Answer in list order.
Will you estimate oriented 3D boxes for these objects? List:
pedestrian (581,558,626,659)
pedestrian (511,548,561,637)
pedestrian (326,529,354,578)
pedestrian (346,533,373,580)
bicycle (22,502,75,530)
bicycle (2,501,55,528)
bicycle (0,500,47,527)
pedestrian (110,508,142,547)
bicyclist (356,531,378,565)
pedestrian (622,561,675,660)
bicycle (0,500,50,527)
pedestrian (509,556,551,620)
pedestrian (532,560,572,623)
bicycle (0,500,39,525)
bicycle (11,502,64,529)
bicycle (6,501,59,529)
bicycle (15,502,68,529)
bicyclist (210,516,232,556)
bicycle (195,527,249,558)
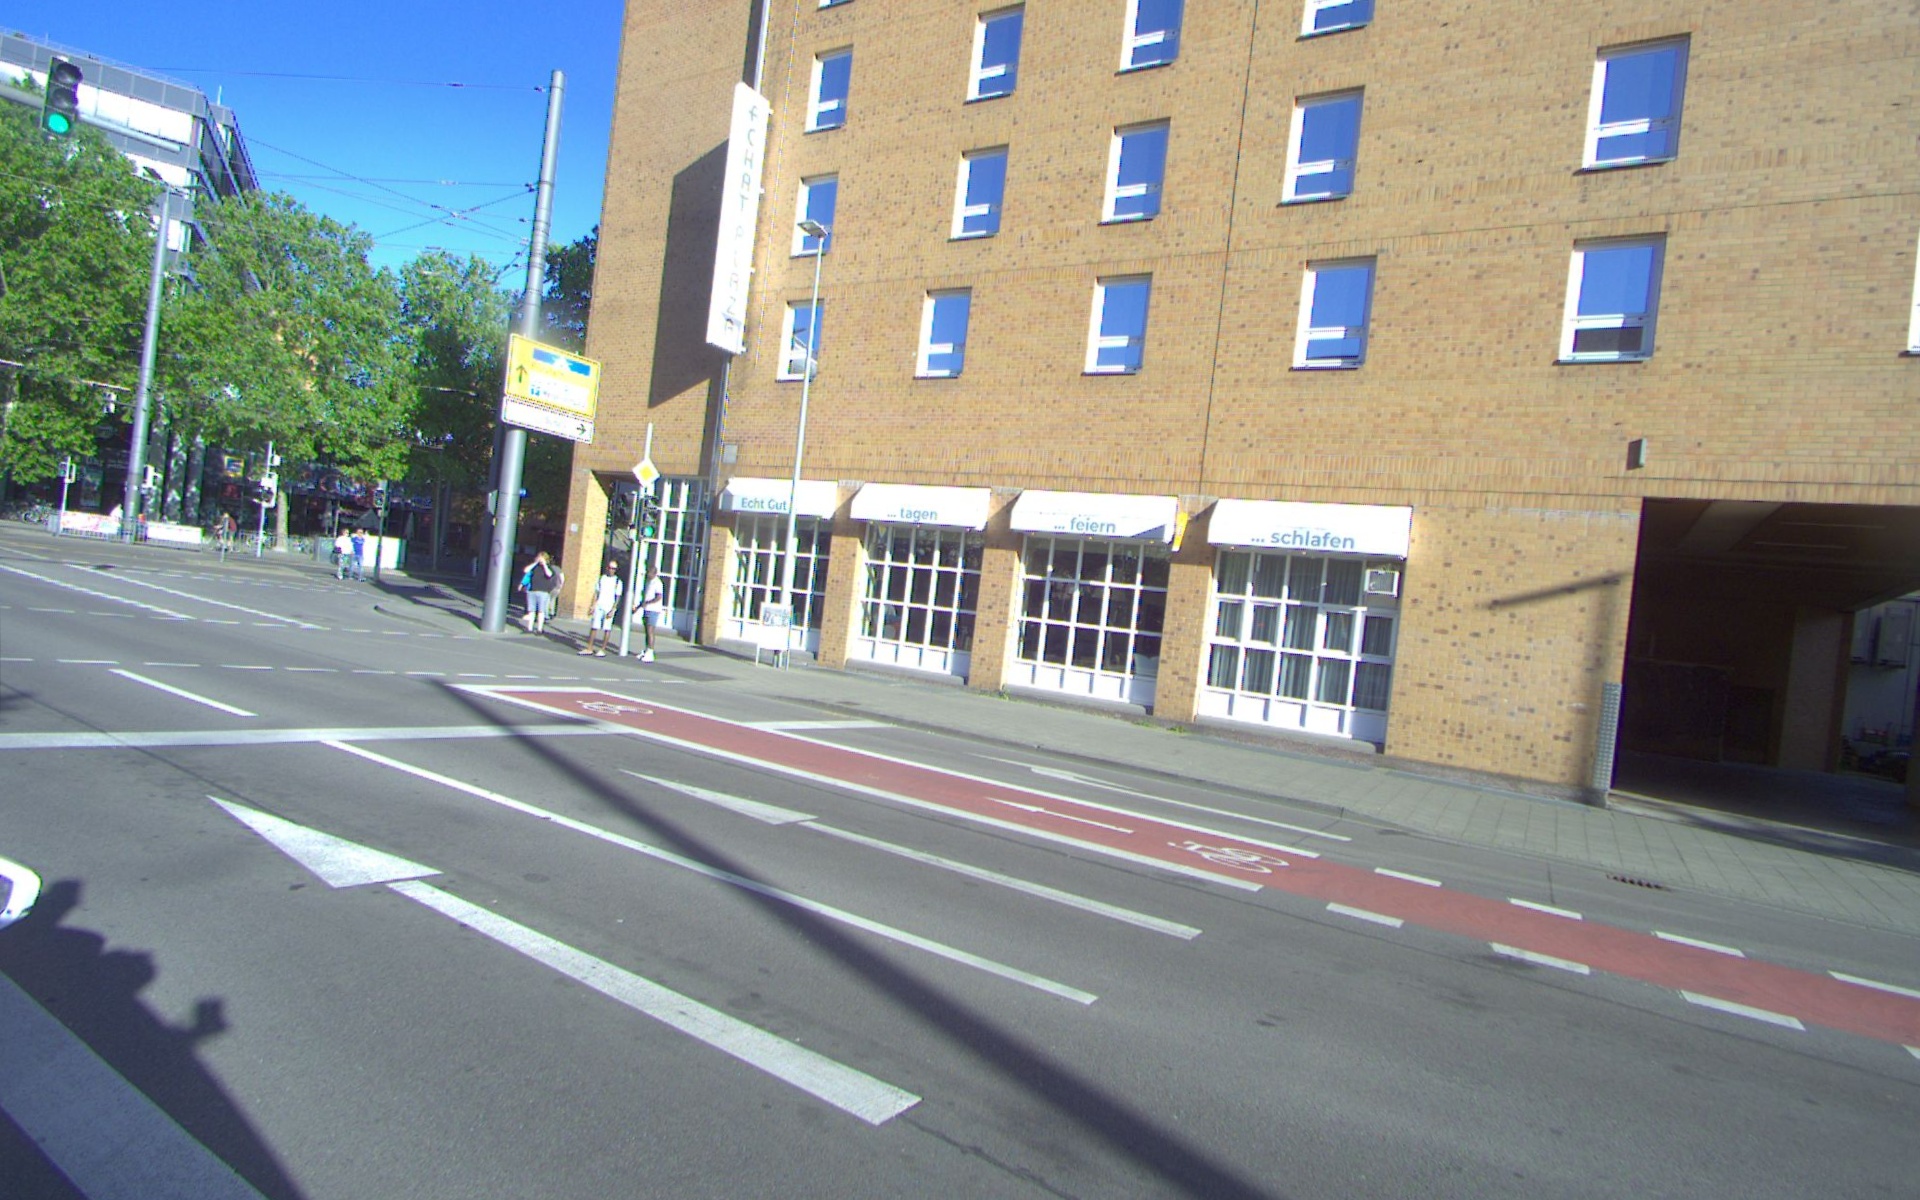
[{"bbox_3d":[-6.718,0.158,18.941,0.587,1.804,0.676,4,3,-28],"label":"pedestrian"},{"bbox_3d":[-9.051,-0.153,21.496,0.726,1.813,0.510,7,-1,-19],"label":"pedestrian"},{"bbox_3d":[-20.620,-1.536,33.458,0.563,1.550,0.695,8,-2,-37],"label":"pedestrian"},{"bbox_3d":[-20.354,-1.461,34.077,0.563,1.496,0.695,8,-2,-37],"label":"pedestrian"},{"bbox_3d":[-46.035,-4.229,50.820,0.354,1.058,1.884,6,-2,31],"label":"bicycle"},{"bbox_3d":[-48.364,-4.431,52.249,0.354,1.058,1.884,6,-2,31],"label":"bicycle"},{"bbox_3d":[-49.196,-4.536,52.737,0.354,1.058,1.885,7,-2,31],"label":"bicycle"},{"bbox_3d":[-39.750,-3.461,47.964,0.747,1.724,0.834,6,-1,32],"label":"pedestrian"},{"bbox_3d":[-29.193,-2.565,49.539,0.623,1.536,0.566,7,-1,-9],"label":"bicyclist"},{"bbox_3d":[-5.935,0.203,19.177,0.583,1.802,0.682,6,0,6],"label":"pedestrian"},{"bbox_3d":[-48.792,-4.490,52.457,0.354,1.058,1.885,7,-2,31],"label":"bicycle"},{"bbox_3d":[-10.398,-0.288,24.342,0.591,1.470,0.593,6,0,32],"label":"pedestrian"},{"bbox_3d":[-10.157,-0.203,25.077,0.543,1.495,0.593,6,0,32],"label":"pedestrian"},{"bbox_3d":[-50.173,-4.647,53.298,0.354,1.058,1.885,7,-2,31],"label":"bicycle"},{"bbox_3d":[-47.354,-4.337,51.668,0.354,1.058,1.884,6,-2,31],"label":"bicycle"},{"bbox_3d":[-47.848,-4.379,51.906,0.354,1.058,1.884,7,-2,31],"label":"bicycle"},{"bbox_3d":[-46.713,-4.289,51.180,0.354,1.058,1.884,6,-2,31],"label":"bicycle"},{"bbox_3d":[-36.354,-3.142,49.499,0.396,1.859,0.585,6,-1,31],"label":"bicyclist"},{"bbox_3d":[-36.341,-2.821,49.580,0.414,1.228,2.046,6,-2,32],"label":"bicycle"}]
